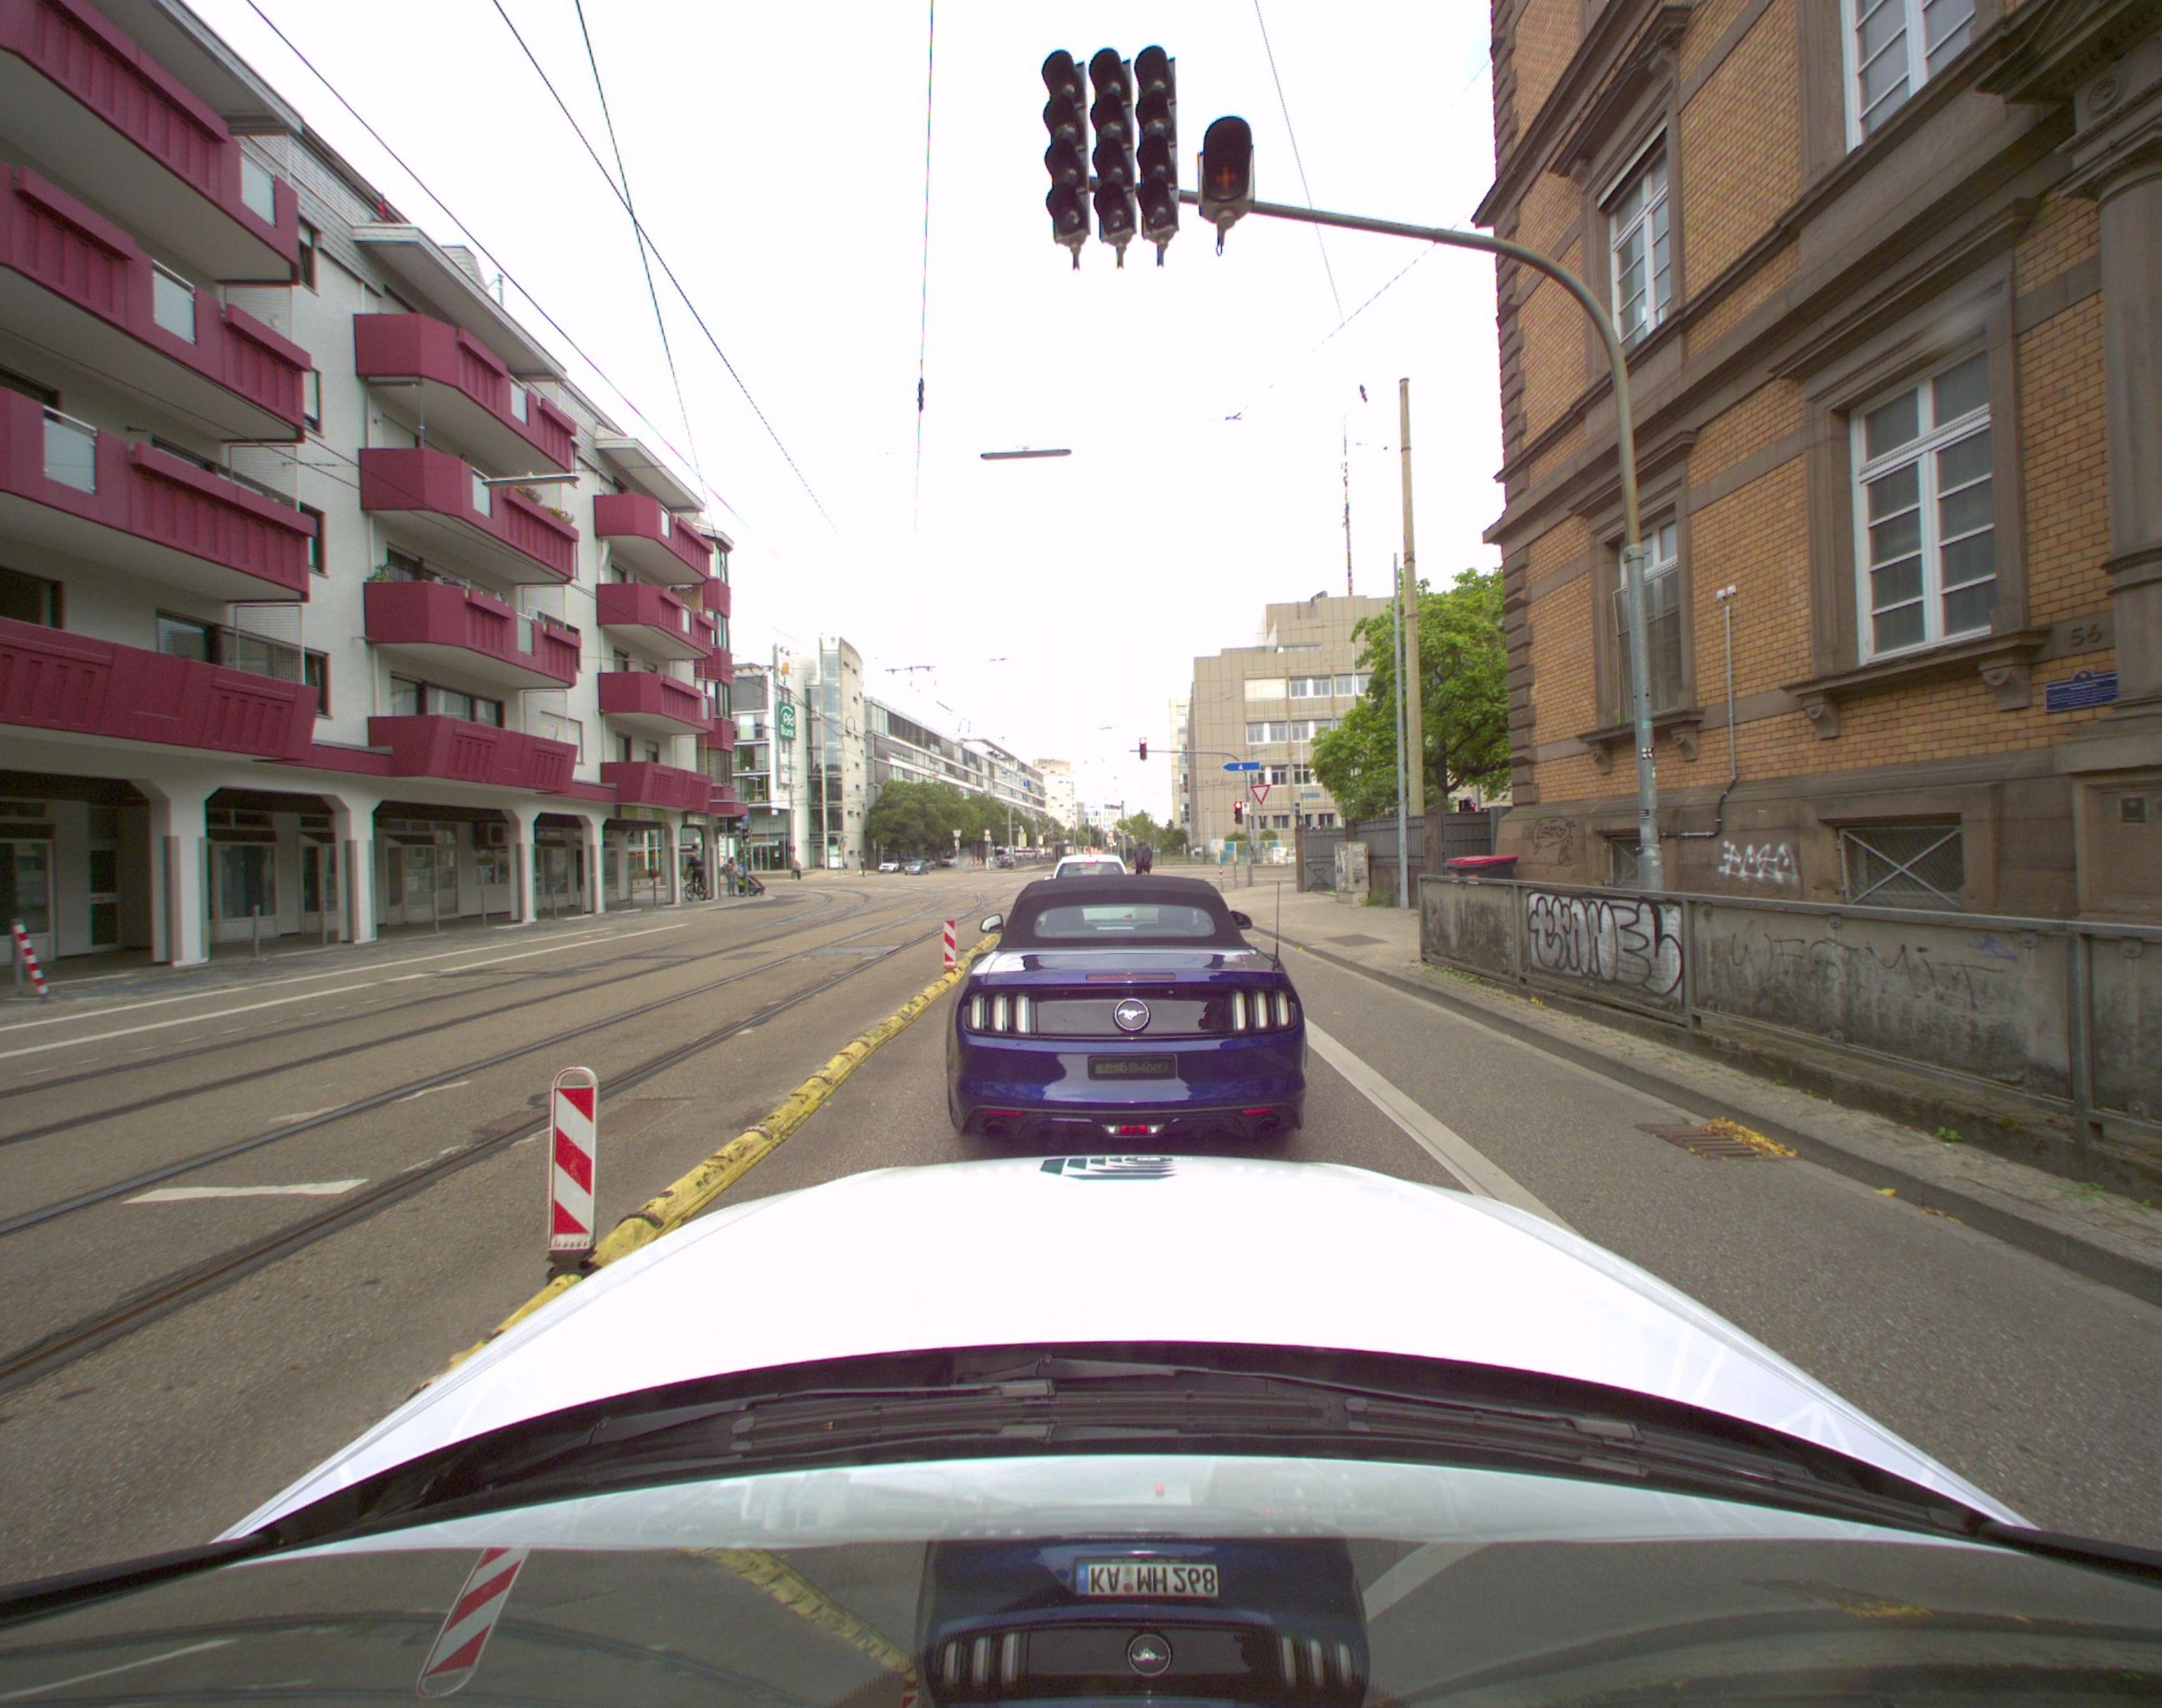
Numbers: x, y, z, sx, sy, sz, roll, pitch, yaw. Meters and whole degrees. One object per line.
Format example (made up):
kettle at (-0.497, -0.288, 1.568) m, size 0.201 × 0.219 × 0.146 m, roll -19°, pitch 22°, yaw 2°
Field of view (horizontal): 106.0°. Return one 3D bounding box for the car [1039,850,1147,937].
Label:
car at (0.138, 0.686, 16.269) m, size 1.831 × 1.439 × 4.183 m, roll -2°, pitch 0°, yaw -2°

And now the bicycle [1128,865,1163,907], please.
bicycle at (1.826, 0.900, 23.375) m, size 0.798 × 1.086 × 2.131 m, roll -2°, pitch 0°, yaw 0°

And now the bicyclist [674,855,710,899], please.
bicyclist at (-15.115, 0.886, 31.645) m, size 1.042 × 1.651 × 0.757 m, roll -2°, pitch 0°, yaw 34°

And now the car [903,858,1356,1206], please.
car at (0.277, 0.752, 5.528) m, size 1.869 × 1.404 × 4.284 m, roll 0°, pitch 0°, yaw 2°

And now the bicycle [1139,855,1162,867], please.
bicycle at (6.187, 0.640, 72.744) m, size 0.637 × 0.981 × 2.133 m, roll -2°, pitch -2°, yaw -40°

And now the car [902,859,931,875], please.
car at (-16.820, 1.295, 83.516) m, size 1.659 × 1.506 × 4.242 m, roll 0°, pitch 0°, yaw 6°

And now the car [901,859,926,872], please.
car at (-20.262, 1.363, 98.828) m, size 1.820 × 1.556 × 4.223 m, roll 0°, pitch 0°, yaw 6°

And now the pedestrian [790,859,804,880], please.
pedestrian at (-25.493, 1.362, 72.997) m, size 0.828 × 1.865 × 0.769 m, roll -2°, pitch 0°, yaw 14°

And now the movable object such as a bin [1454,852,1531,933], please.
movable object such as a bin at (5.966, 0.541, 11.836) m, size 0.662 × 1.082 × 0.700 m, roll -5°, pitch -1°, yaw -3°

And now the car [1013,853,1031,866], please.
car at (-8.014, 0.699, 111.181) m, size 1.861 × 1.605 × 4.214 m, roll -2°, pitch 0°, yaw 2°

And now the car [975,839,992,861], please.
car at (-16.218, -0.627, 135.979) m, size 1.978 × 3.636 × 4.516 m, roll 0°, pitch 0°, yaw 3°

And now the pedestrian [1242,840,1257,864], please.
pedestrian at (14.134, -0.170, 68.264) m, size 1.080 × 1.898 × 0.903 m, roll -2°, pitch 0°, yaw 7°

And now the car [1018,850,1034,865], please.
car at (-7.837, 0.453, 116.349) m, size 1.778 × 1.987 × 4.123 m, roll -2°, pitch 0°, yaw 2°

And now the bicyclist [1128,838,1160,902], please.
bicyclist at (1.809, 0.445, 23.548) m, size 0.793 × 1.785 × 1.233 m, roll -2°, pitch 0°, yaw 0°

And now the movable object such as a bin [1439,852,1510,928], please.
movable object such as a bin at (6.048, 0.538, 12.551) m, size 0.649 × 1.082 × 0.677 m, roll -5°, pitch -1°, yaw -4°

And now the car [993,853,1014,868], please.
car at (-9.282, 0.780, 97.666) m, size 1.872 × 1.628 × 4.089 m, roll -2°, pitch 0°, yaw 2°

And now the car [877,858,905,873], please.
car at (-21.336, 1.243, 91.687) m, size 1.820 × 1.556 × 4.223 m, roll 0°, pitch 0°, yaw 6°

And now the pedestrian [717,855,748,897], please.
pedestrian at (-15.230, 0.952, 35.635) m, size 0.945 × 1.743 × 0.811 m, roll -2°, pitch 0°, yaw -2°

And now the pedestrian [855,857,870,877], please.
pedestrian at (-20.924, 1.244, 77.927) m, size 0.983 × 1.855 × 0.904 m, roll -2°, pitch 0°, yaw 8°

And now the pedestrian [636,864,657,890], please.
pedestrian at (-29.771, 1.578, 55.841) m, size 0.928 × 1.671 × 0.769 m, roll -2°, pitch 0°, yaw 14°

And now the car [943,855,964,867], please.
car at (-18.302, 0.966, 116.992) m, size 1.978 × 1.556 × 4.516 m, roll 0°, pitch 0°, yaw 3°

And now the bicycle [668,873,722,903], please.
bicycle at (-14.996, 1.311, 31.603) m, size 2.330 × 1.086 × 0.770 m, roll -2°, pitch 0°, yaw 33°

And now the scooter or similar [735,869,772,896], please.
scooter or similar at (-14.337, 1.240, 35.687) m, size 1.192 × 1.128 × 0.946 m, roll -1°, pitch 0°, yaw -1°
